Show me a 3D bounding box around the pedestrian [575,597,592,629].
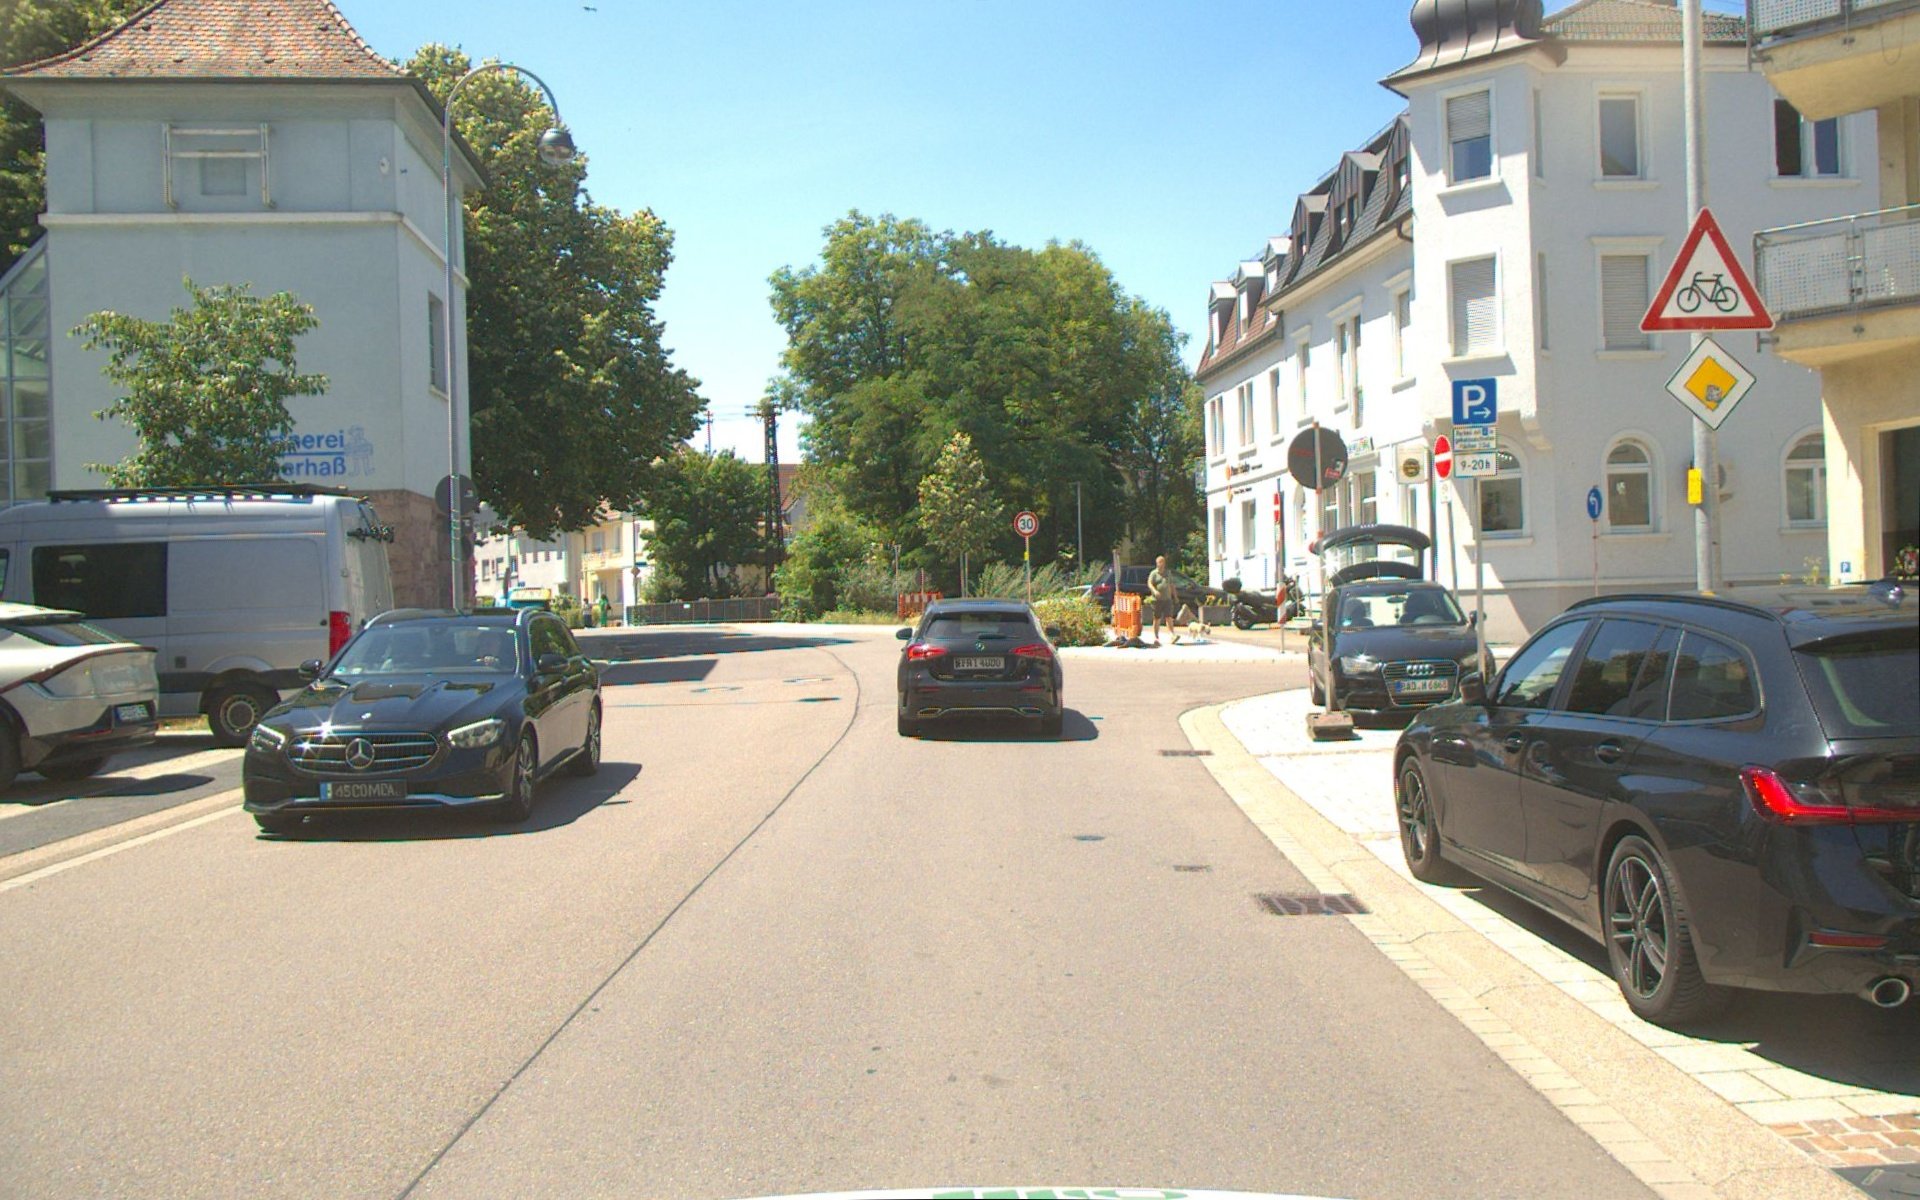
[{"bbox_3d":[-19.880,0.670,87.286,0.608,1.641,0.827,-1,-1,-34],"label":"pedestrian"}]

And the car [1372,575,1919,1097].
[{"bbox_3d":[3.201,0.656,7.003,1.689,1.429,4.608,-3,0,0],"label":"car"}]

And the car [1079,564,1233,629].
[{"bbox_3d":[5.475,-0.092,46.404,3.996,1.746,1.854,0,0,-6],"label":"car"}]

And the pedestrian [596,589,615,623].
[{"bbox_3d":[-18.591,0.300,86.756,0.690,1.772,0.658,-2,-1,43],"label":"pedestrian"}]

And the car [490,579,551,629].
[{"bbox_3d":[-23.789,0.240,89.368,2.110,2.586,4.604,-2,-1,-29],"label":"car"}]

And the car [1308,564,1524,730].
[{"bbox_3d":[4.891,0.434,18.233,1.832,1.517,3.865,-3,1,9],"label":"car"}]

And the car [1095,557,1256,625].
[{"bbox_3d":[5.761,-0.236,44.453,3.996,1.746,1.854,0,0,-6],"label":"car"}]

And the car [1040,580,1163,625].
[{"bbox_3d":[4.925,0.096,57.414,4.165,1.373,1.834,0,4,-41],"label":"car"}]

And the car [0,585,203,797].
[{"bbox_3d":[-8.832,0.708,13.507,4.366,1.619,1.998,0,-1,-5],"label":"car"}]

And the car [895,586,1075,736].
[{"bbox_3d":[0.260,0.679,18.784,1.790,1.467,3.999,-1,-2,0],"label":"car"}]

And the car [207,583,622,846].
[{"bbox_3d":[-3.909,0.688,12.788,1.856,1.580,4.795,-1,1,-4],"label":"car"}]

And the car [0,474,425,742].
[{"bbox_3d":[-9.121,0.087,18.354,5.653,2.780,2.290,0,-1,-4],"label":"car"}]

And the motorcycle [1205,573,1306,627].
[{"bbox_3d":[7.332,0.001,41.068,2.330,1.297,0.855,-1,0,-5],"label":"motorcycle"}]

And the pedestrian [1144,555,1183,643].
[{"bbox_3d":[4.317,-0.029,35.095,0.730,1.827,0.844,-2,2,3],"label":"pedestrian"}]
